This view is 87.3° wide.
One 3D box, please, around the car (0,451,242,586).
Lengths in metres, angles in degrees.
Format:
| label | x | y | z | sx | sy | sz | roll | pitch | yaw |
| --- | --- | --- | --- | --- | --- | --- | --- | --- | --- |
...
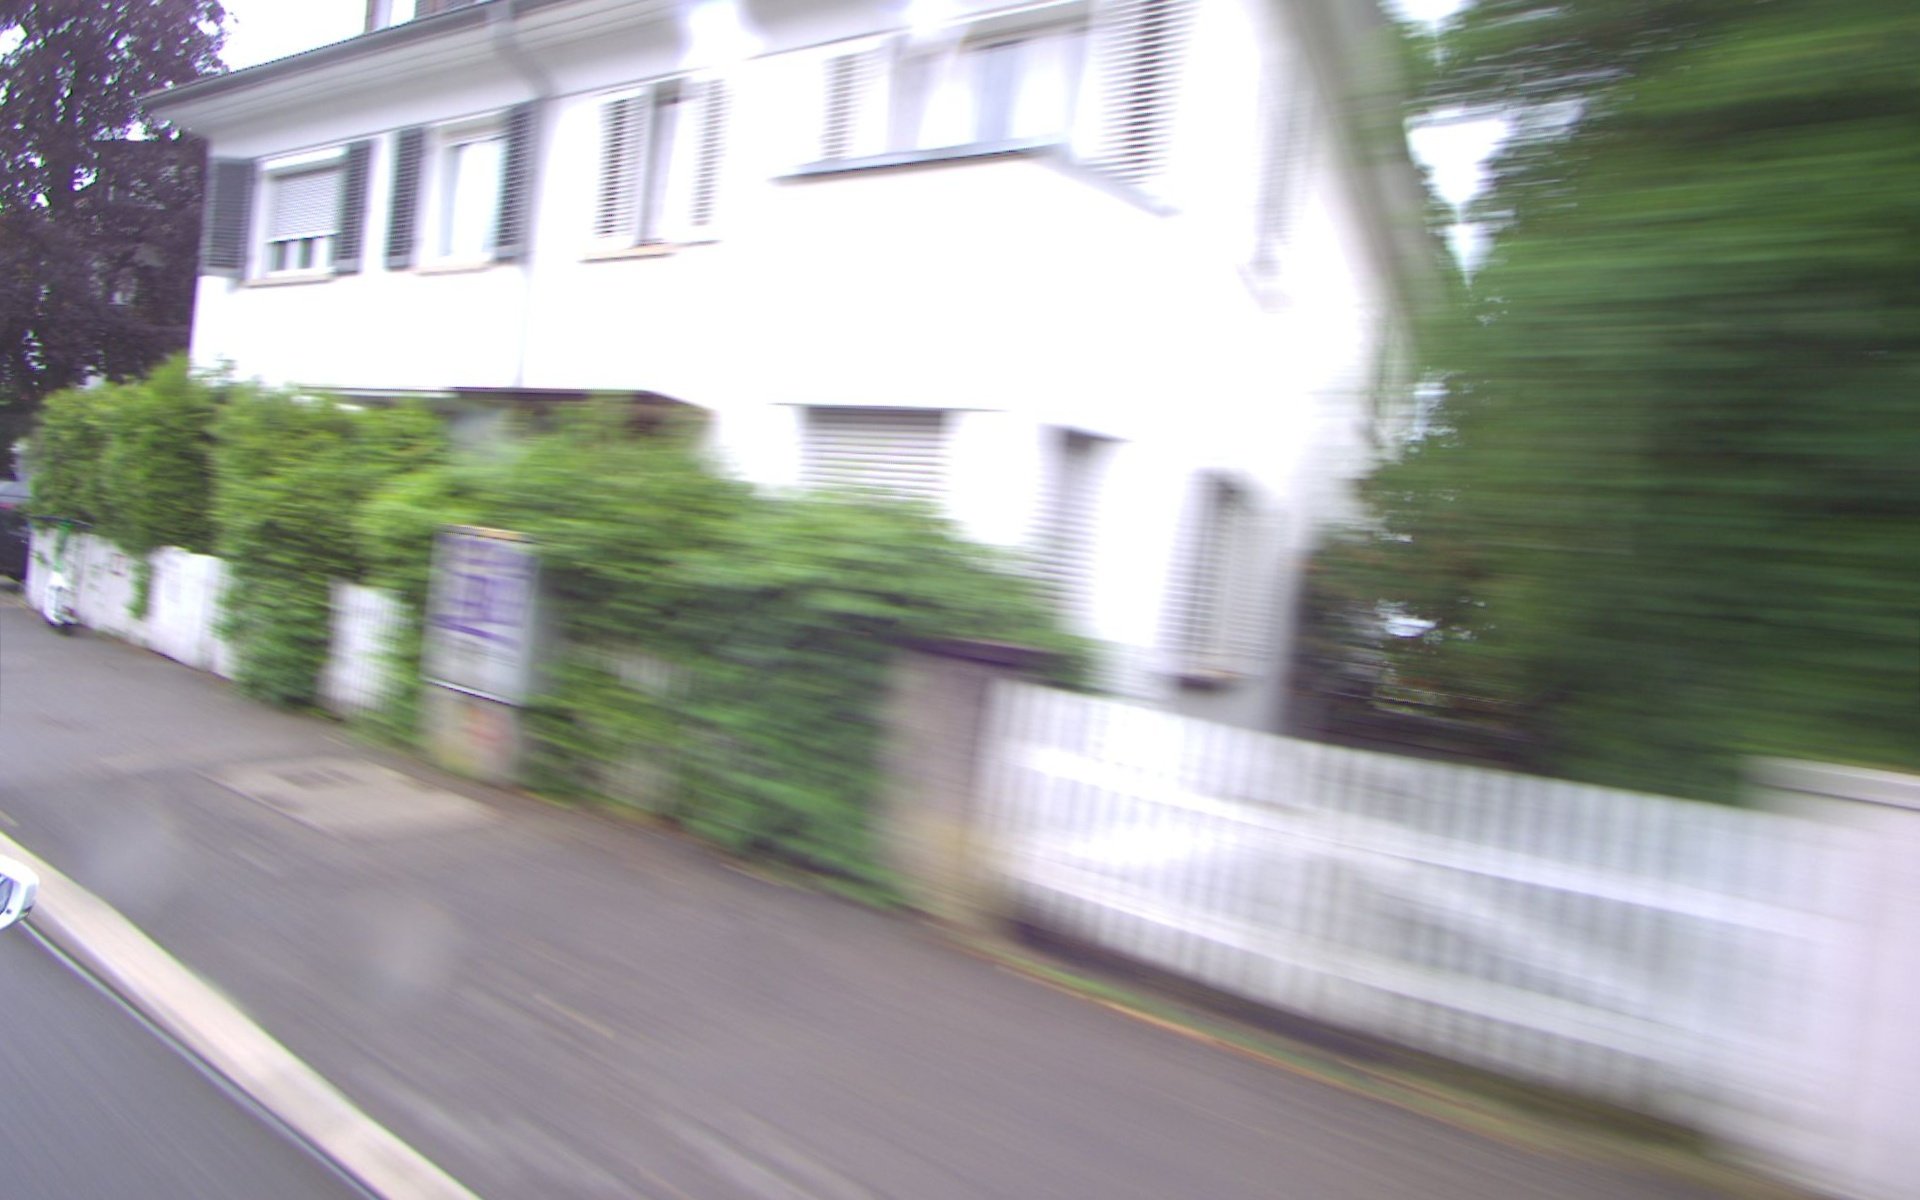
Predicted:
| label | x | y | z | sx | sy | sz | roll | pitch | yaw |
| --- | --- | --- | --- | --- | --- | --- | --- | --- | --- |
| car | -15.081 | -1.400 | 16.718 | 1.968 | 1.899 | 4.661 | 8 | 2 | 34 |

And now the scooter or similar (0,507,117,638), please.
| label | x | y | z | sx | sy | sz | roll | pitch | yaw |
| --- | --- | --- | --- | --- | --- | --- | --- | --- | --- |
| scooter or similar | -9.573 | -0.312 | 10.652 | 1.837 | 1.214 | 0.456 | 6 | -1 | 36 |

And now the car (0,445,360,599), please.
| label | x | y | z | sx | sy | sz | roll | pitch | yaw |
| --- | --- | --- | --- | --- | --- | --- | --- | --- | --- |
| car | -12.178 | -1.119 | 15.404 | 1.968 | 1.836 | 4.661 | 8 | 2 | 34 |

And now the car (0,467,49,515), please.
| label | x | y | z | sx | sy | sz | roll | pitch | yaw |
| --- | --- | --- | --- | --- | --- | --- | --- | --- | --- |
| car | -39.589 | -4.659 | 40.968 | 3.988 | 1.628 | 1.814 | 10 | 0 | 18 |
